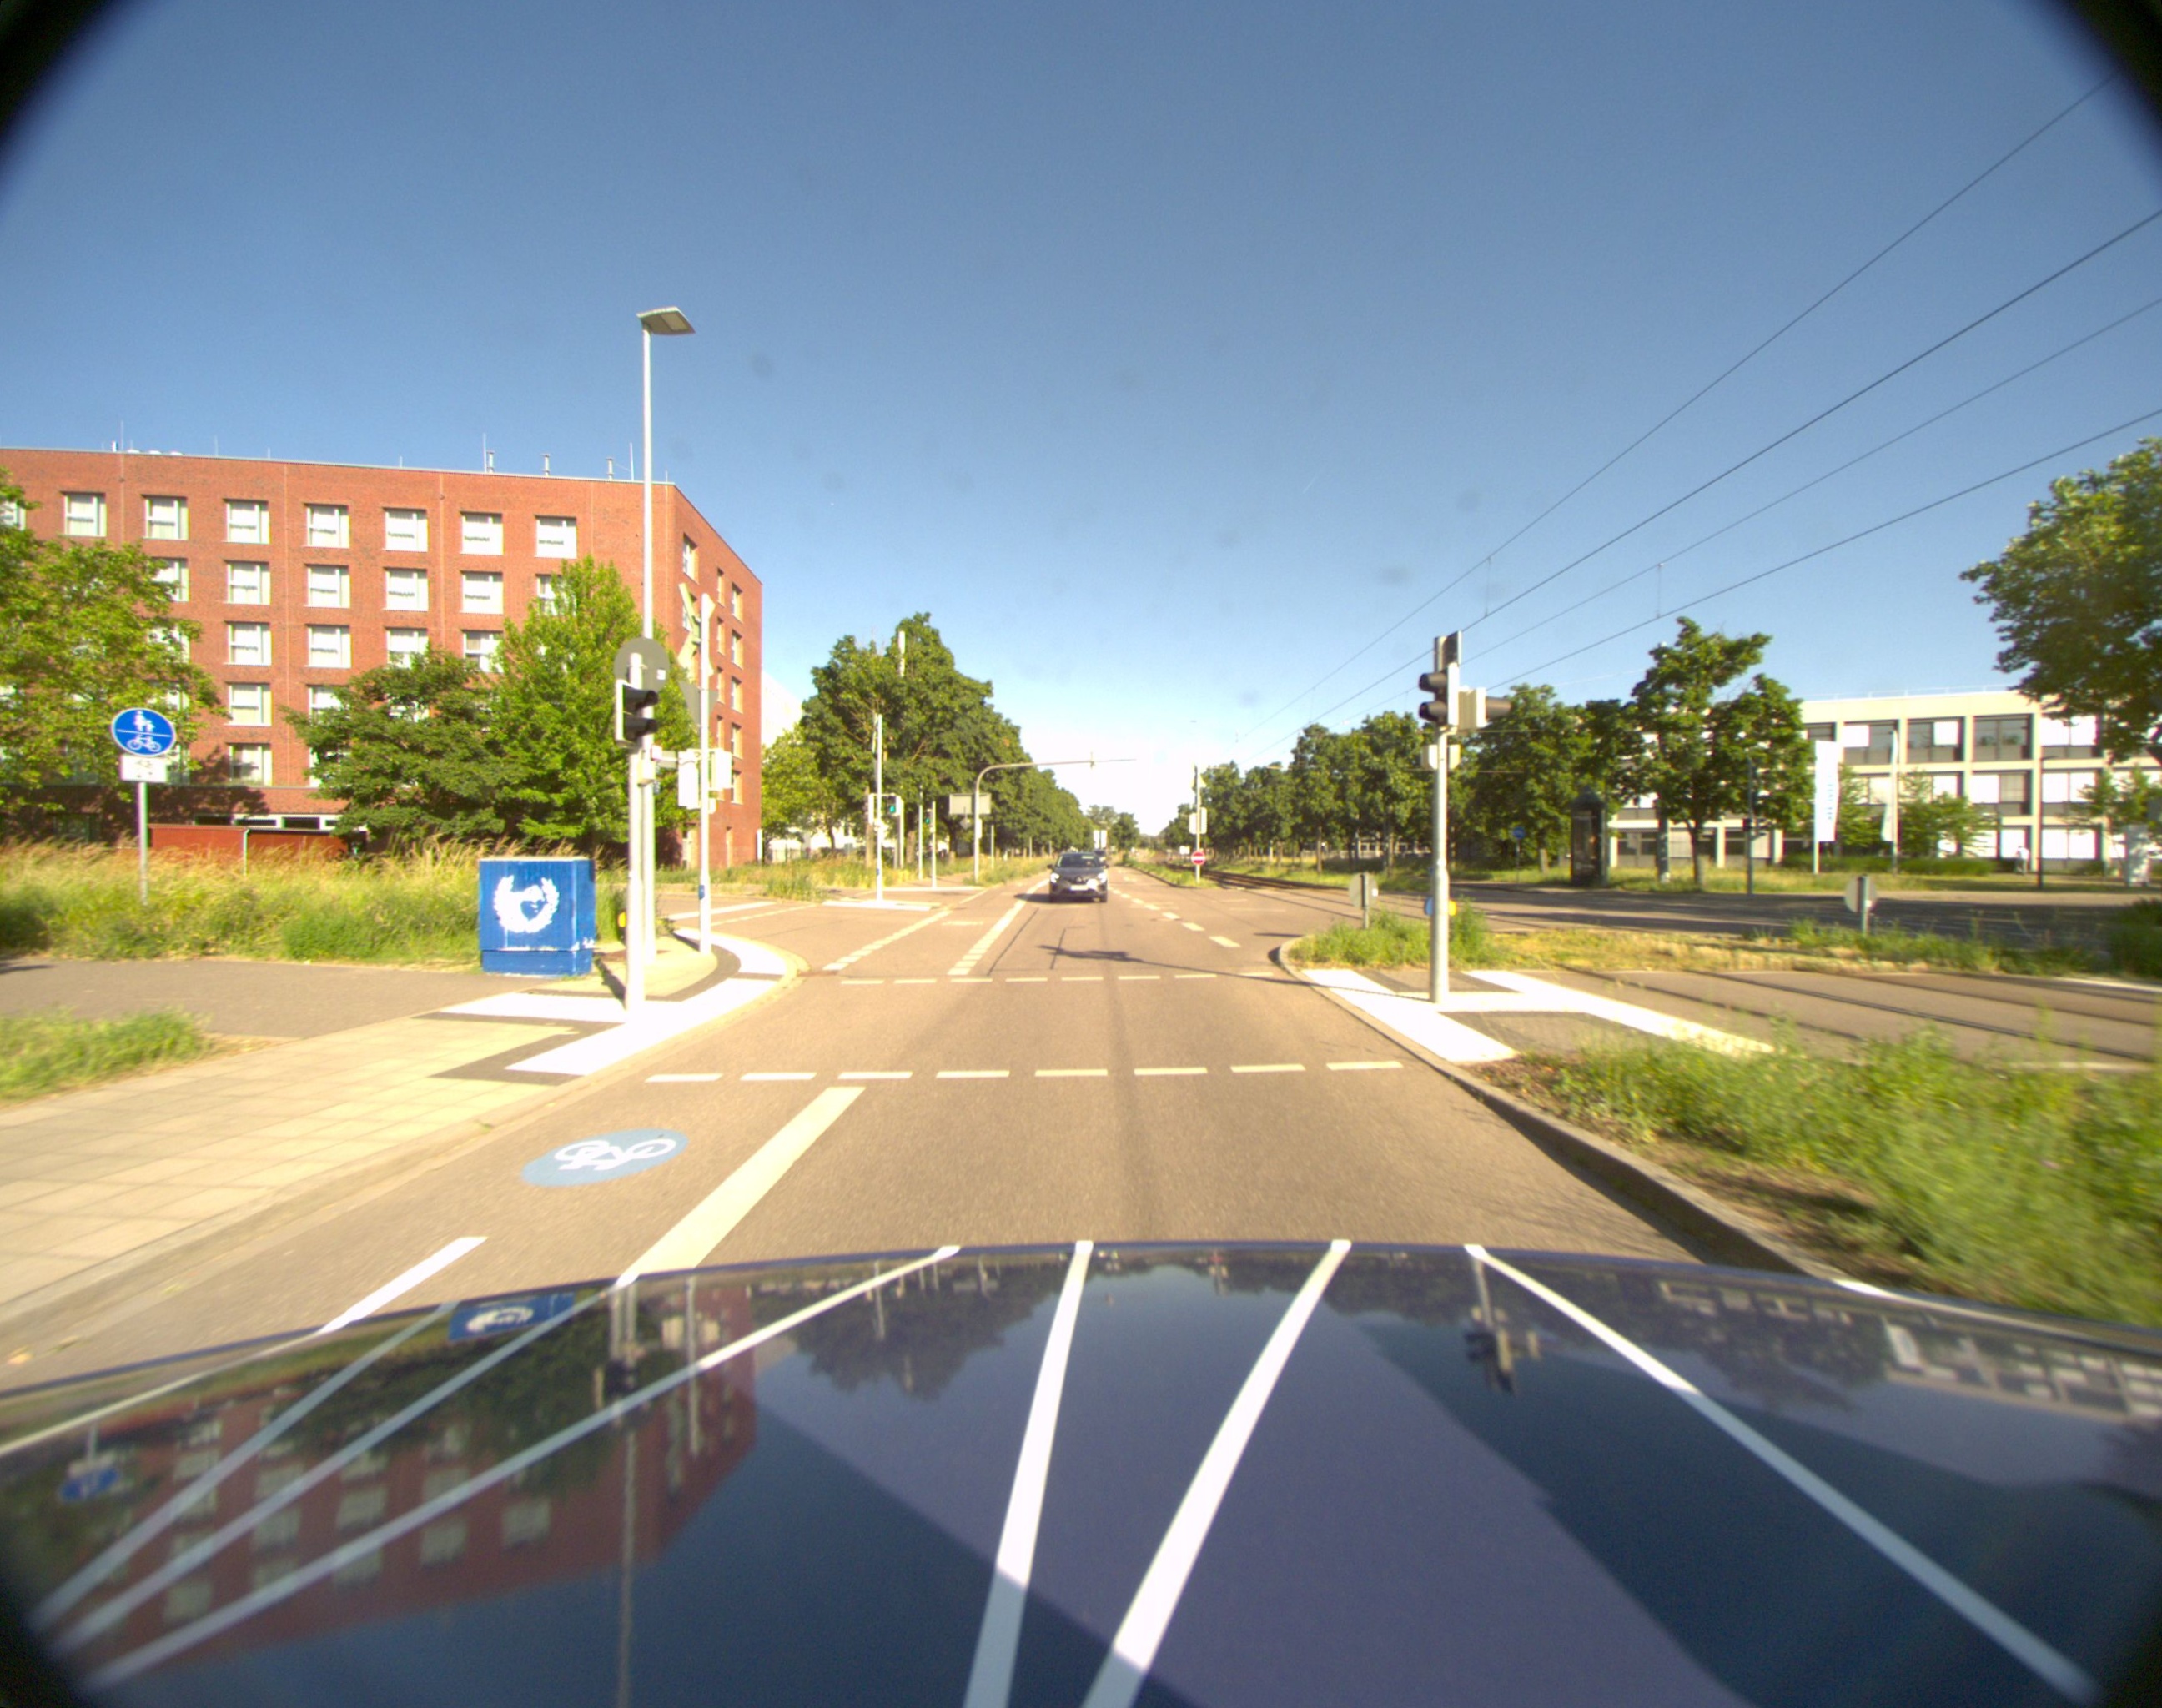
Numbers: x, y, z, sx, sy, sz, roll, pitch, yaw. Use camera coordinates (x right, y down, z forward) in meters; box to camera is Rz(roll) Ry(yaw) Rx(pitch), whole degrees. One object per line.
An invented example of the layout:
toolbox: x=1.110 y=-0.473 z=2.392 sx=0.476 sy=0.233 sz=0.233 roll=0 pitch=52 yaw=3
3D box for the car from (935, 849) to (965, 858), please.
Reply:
car: x=-19.913 y=-0.075 z=115.574 sx=4.173 sy=1.423 sz=1.825 roll=0 pitch=1 yaw=7

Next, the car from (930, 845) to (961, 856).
car: x=-19.028 y=-0.492 z=106.939 sx=4.038 sy=1.496 sz=1.739 roll=0 pitch=1 yaw=5

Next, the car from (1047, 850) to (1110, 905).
car: x=0.001 y=0.711 z=25.063 sx=1.749 sy=1.585 sz=4.247 roll=0 pitch=1 yaw=4

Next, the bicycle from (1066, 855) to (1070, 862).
bicycle: x=-2.282 y=0.755 z=131.848 sx=0.484 sy=1.198 sz=2.143 roll=-1 pitch=2 yaw=4

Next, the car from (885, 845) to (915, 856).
car: x=-32.231 y=-0.612 z=135.287 sx=4.759 sy=1.938 sz=1.975 roll=1 pitch=0 yaw=4

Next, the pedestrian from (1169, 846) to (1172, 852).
pedestrian: x=23.958 y=-1.285 z=202.726 sx=0.785 sy=1.741 sz=0.782 roll=0 pitch=1 yaw=5

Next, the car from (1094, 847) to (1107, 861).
car: x=2.564 y=0.002 z=99.812 sx=1.554 sy=1.765 sz=3.457 roll=1 pitch=1 yaw=4
